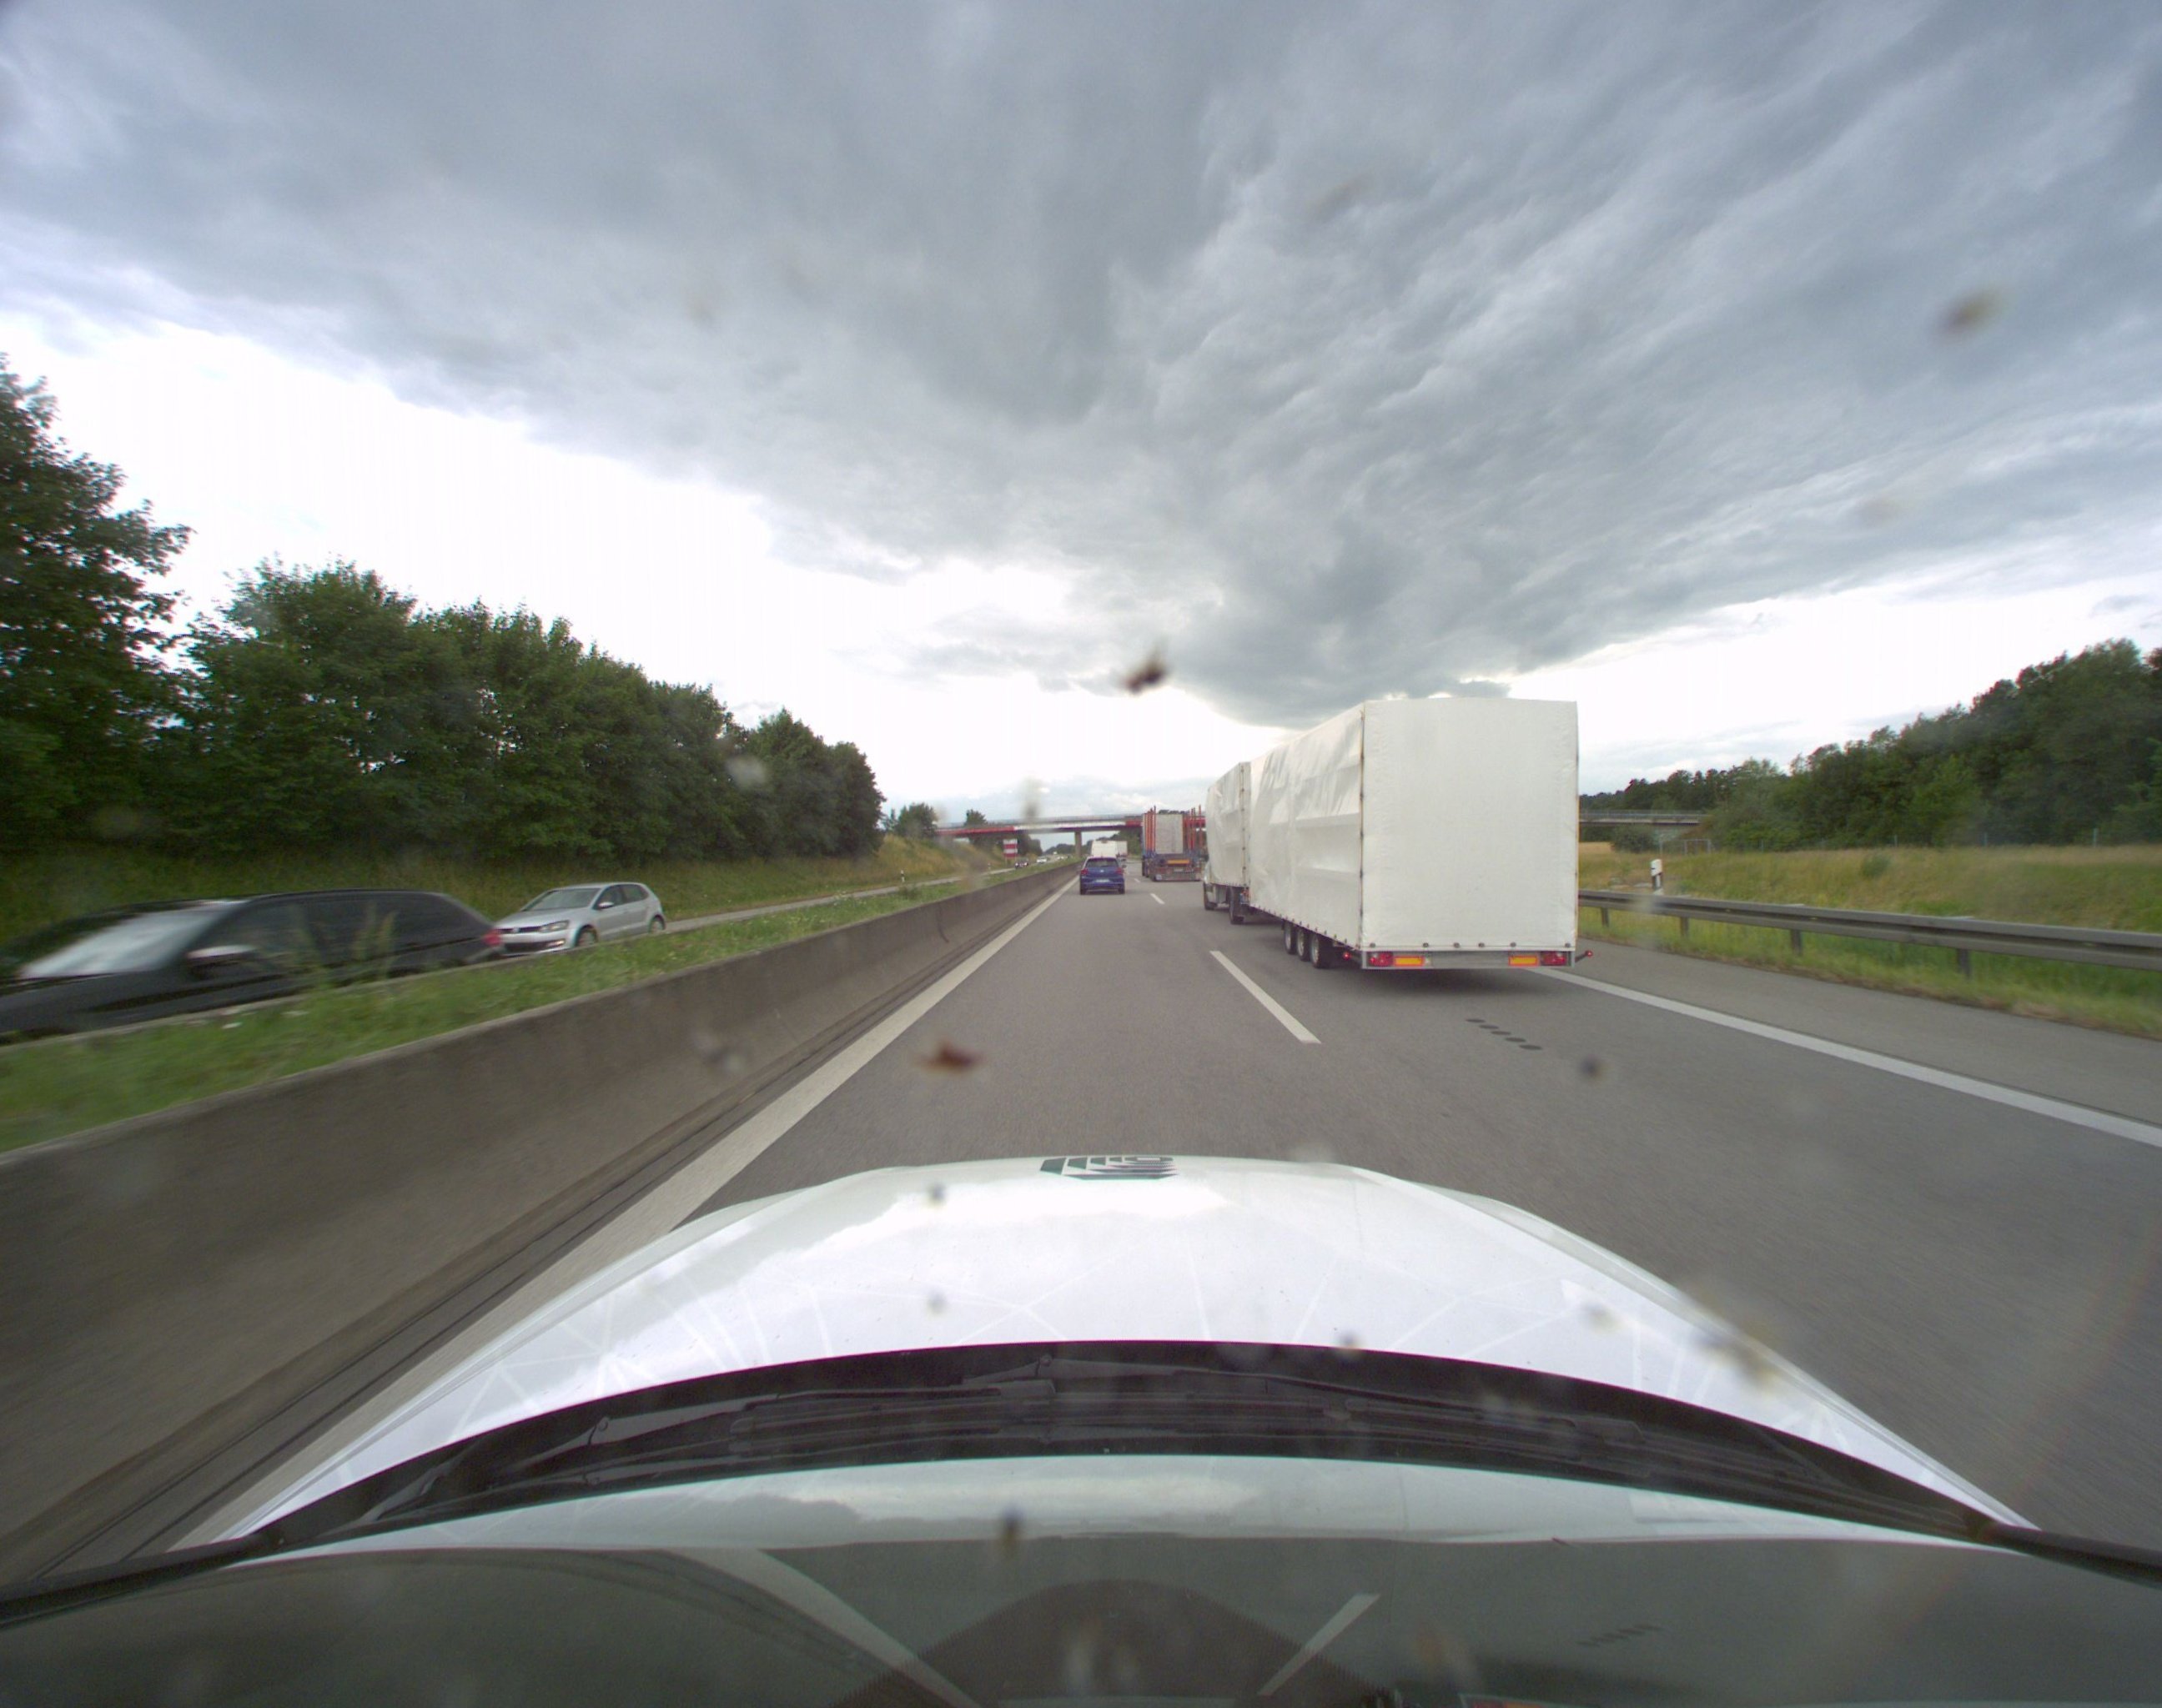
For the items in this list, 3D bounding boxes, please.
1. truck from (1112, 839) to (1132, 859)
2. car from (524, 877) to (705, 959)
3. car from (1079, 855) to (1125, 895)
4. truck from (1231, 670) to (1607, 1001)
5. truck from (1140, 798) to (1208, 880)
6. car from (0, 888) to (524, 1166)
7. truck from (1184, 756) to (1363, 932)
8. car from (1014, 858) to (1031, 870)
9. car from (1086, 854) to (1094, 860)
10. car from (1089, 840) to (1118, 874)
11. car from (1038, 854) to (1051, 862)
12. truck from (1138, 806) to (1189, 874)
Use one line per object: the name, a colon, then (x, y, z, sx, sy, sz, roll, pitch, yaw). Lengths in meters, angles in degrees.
truck: (7.975, -0.895, 160.652, 3.101, 3.689, 9.319, -4, 0, -1)
car: (-10.121, 1.315, 18.047, 1.640, 1.409, 3.889, -4, 0, 1)
car: (0.828, 0.776, 31.747, 1.657, 1.407, 3.649, -1, 0, 1)
truck: (4.000, -0.186, 11.625, 2.407, 3.222, 7.143, -1, 0, 0)
truck: (5.089, -0.833, 46.669, 2.664, 4.045, 11.109, -2, 0, 1)
car: (-6.939, 1.118, 6.332, 1.841, 1.378, 4.602, -4, 0, 2)
truck: (4.067, -0.195, 18.870, 2.421, 3.243, 7.247, -1, 0, 0)
car: (-7.530, 1.331, 105.120, 1.640, 1.378, 4.237, -4, 0, 2)
car: (2.433, 0.773, 222.568, 1.986, 1.684, 4.001, -1, 0, 1)
car: (1.763, 0.194, 63.782, 2.122, 2.482, 5.842, -2, 0, 2)
car: (-7.049, 0.709, 157.479, 1.888, 1.461, 4.543, -4, 0, 2)
truck: (5.169, -0.887, 52.116, 2.664, 4.045, 5.513, -2, 0, 1)
